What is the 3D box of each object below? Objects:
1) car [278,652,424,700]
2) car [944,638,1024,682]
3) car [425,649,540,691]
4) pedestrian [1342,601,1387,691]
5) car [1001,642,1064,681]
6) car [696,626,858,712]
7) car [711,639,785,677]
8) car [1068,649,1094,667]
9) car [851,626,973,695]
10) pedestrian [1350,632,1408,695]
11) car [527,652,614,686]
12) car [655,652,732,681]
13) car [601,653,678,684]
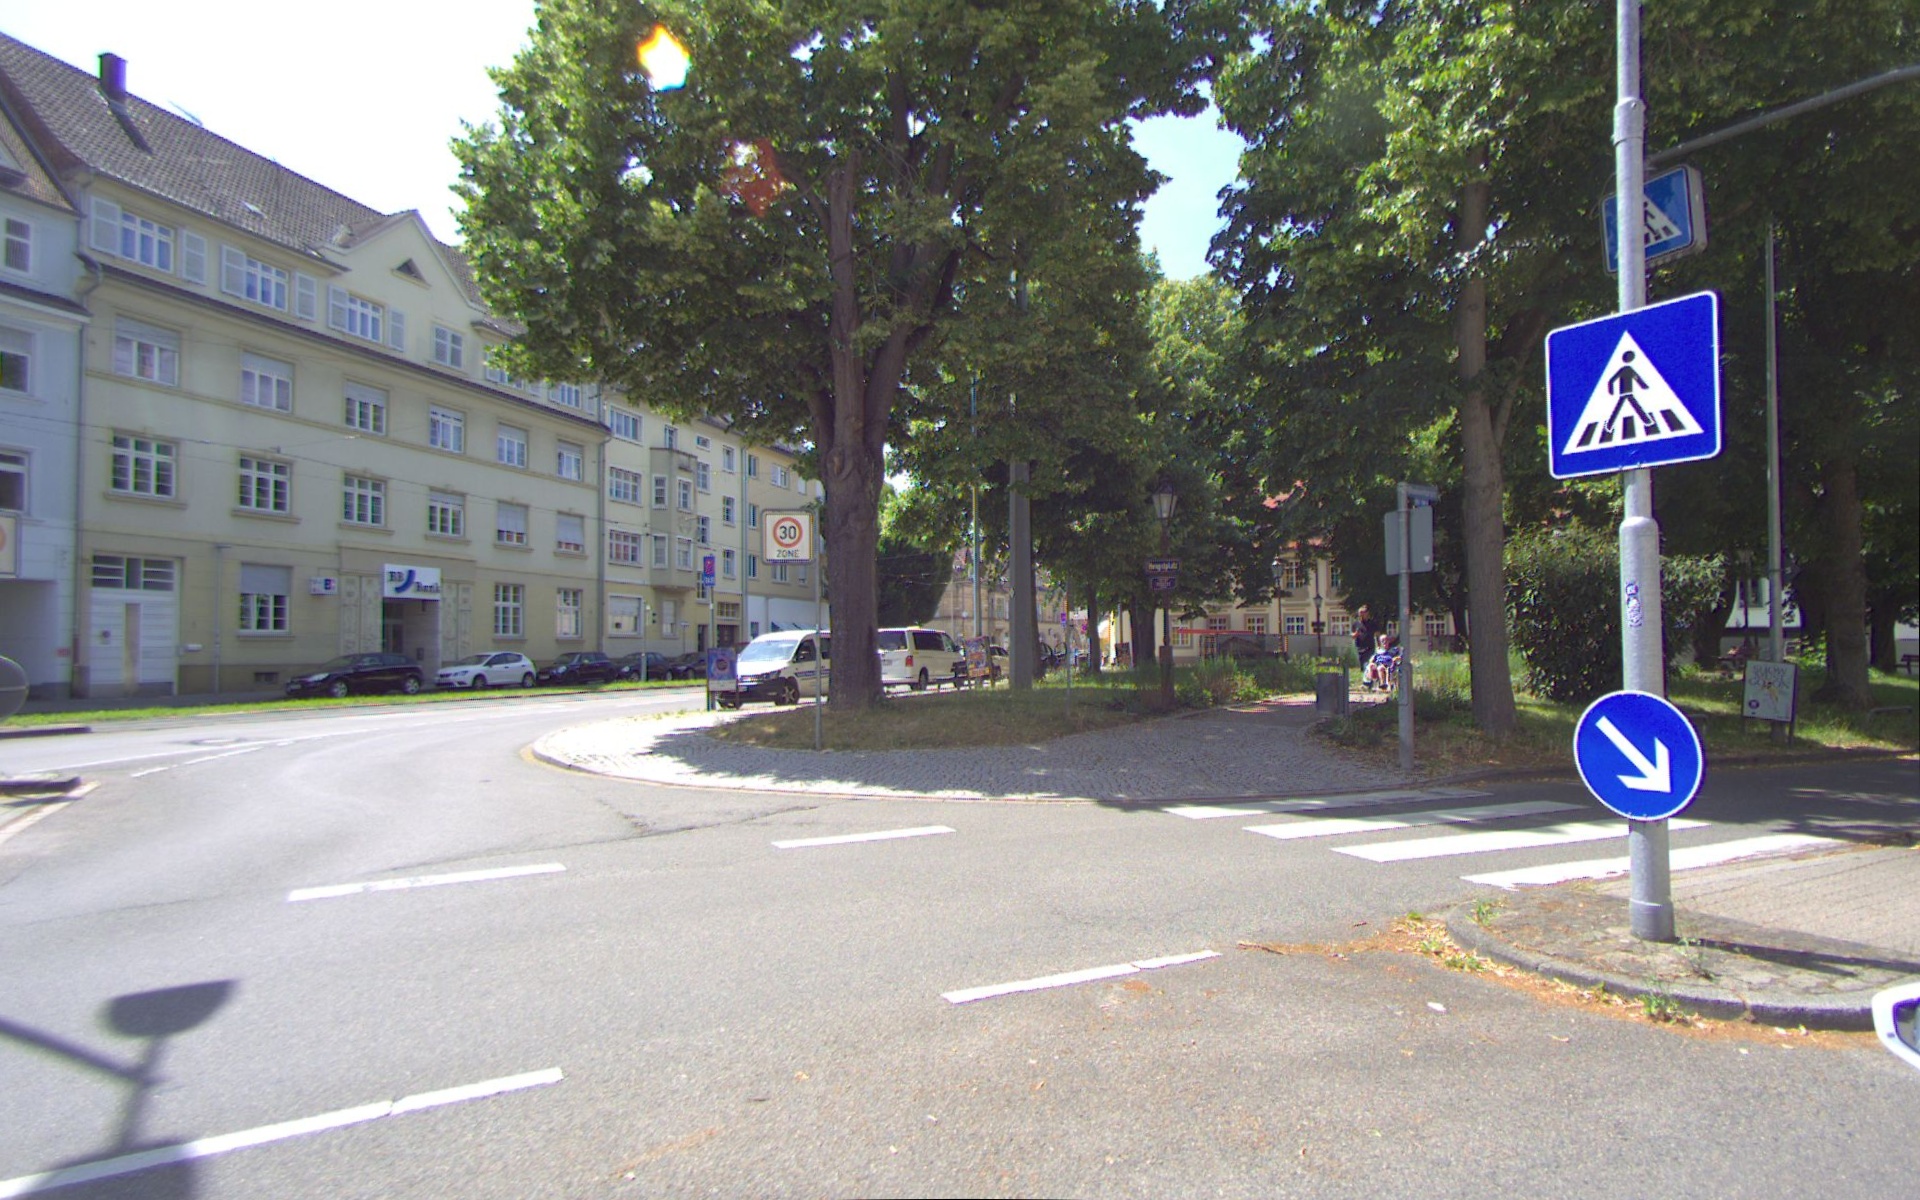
[{"bbox_3d":[-19.523,2.411,32.358,1.659,1.377,3.859,-4,-4,19],"label":"car"},{"bbox_3d":[1.015,2.313,39.234,1.754,1.645,4.486,-1,-3,20],"label":"car"},{"bbox_3d":[-17.739,2.581,37.508,1.659,1.408,3.859,-4,-4,19],"label":"car"},{"bbox_3d":[8.920,1.015,22.150,0.738,1.936,0.682,-2,-1,35],"label":"pedestrian"},{"bbox_3d":[3.380,2.781,45.890,1.754,1.715,4.201,-1,-3,20],"label":"car"},{"bbox_3d":[-4.272,1.610,24.226,1.960,1.850,4.424,-1,-3,19],"label":"car"},{"bbox_3d":[-11.666,3.193,55.639,1.823,1.936,4.773,-3,-4,19],"label":"car"},{"bbox_3d":[10.698,5.132,88.689,1.829,1.505,4.003,-1,-3,13],"label":"car"},{"bbox_3d":[-1.419,1.899,32.321,2.016,2.029,5.249,-1,-3,20],"label":"car"},{"bbox_3d":[8.864,1.327,21.242,0.894,1.268,1.144,-2,-2,34],"label":"pedestrian"},{"bbox_3d":[-16.291,2.886,42.152,1.659,1.294,3.289,-4,-4,19],"label":"car"},{"bbox_3d":[-13.366,3.310,50.593,1.614,1.294,4.265,-4,-4,19],"label":"car"},{"bbox_3d":[-14.813,3.168,46.578,1.576,1.294,3.587,-4,-4,19],"label":"car"}]
